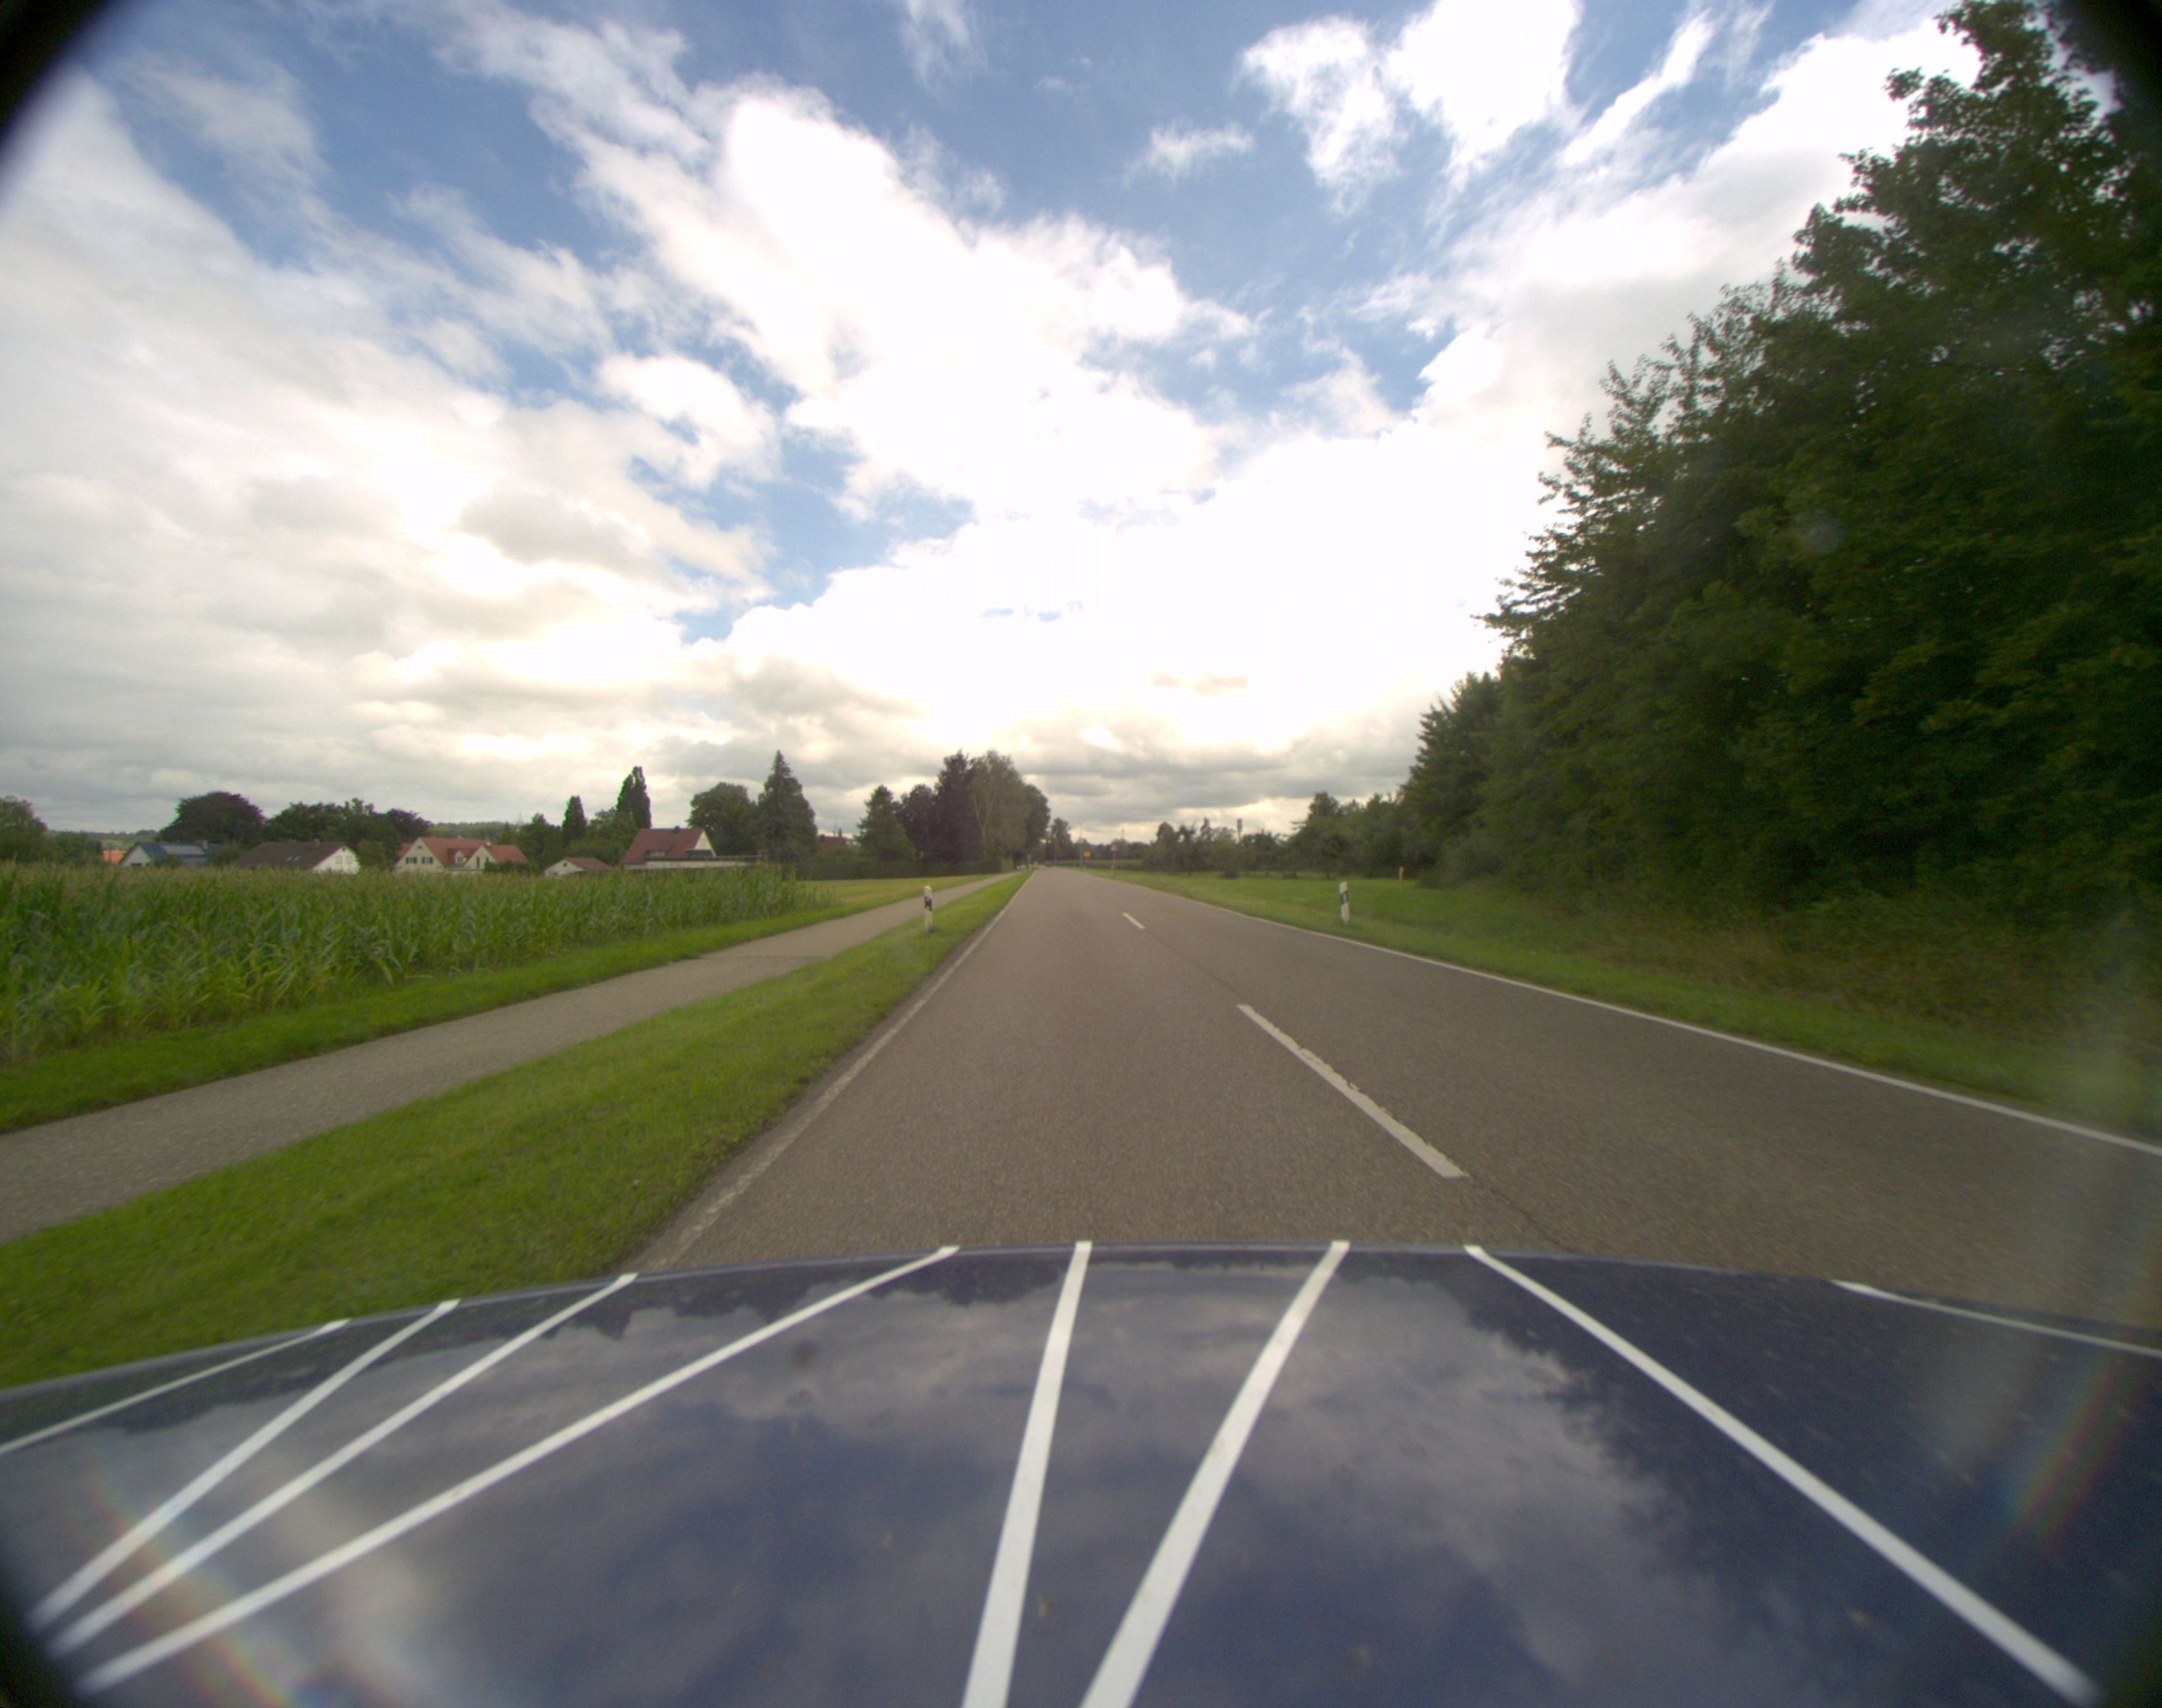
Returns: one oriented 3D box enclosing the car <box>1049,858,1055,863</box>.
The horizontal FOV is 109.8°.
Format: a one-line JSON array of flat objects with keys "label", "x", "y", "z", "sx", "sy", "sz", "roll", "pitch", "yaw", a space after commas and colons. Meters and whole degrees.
[{"label": "car", "x": -9.174, "y": 2.004, "z": 242.596, "sx": 1.869, "sy": 1.543, "sz": 4.181, "roll": 2, "pitch": 0, "yaw": -2}]
